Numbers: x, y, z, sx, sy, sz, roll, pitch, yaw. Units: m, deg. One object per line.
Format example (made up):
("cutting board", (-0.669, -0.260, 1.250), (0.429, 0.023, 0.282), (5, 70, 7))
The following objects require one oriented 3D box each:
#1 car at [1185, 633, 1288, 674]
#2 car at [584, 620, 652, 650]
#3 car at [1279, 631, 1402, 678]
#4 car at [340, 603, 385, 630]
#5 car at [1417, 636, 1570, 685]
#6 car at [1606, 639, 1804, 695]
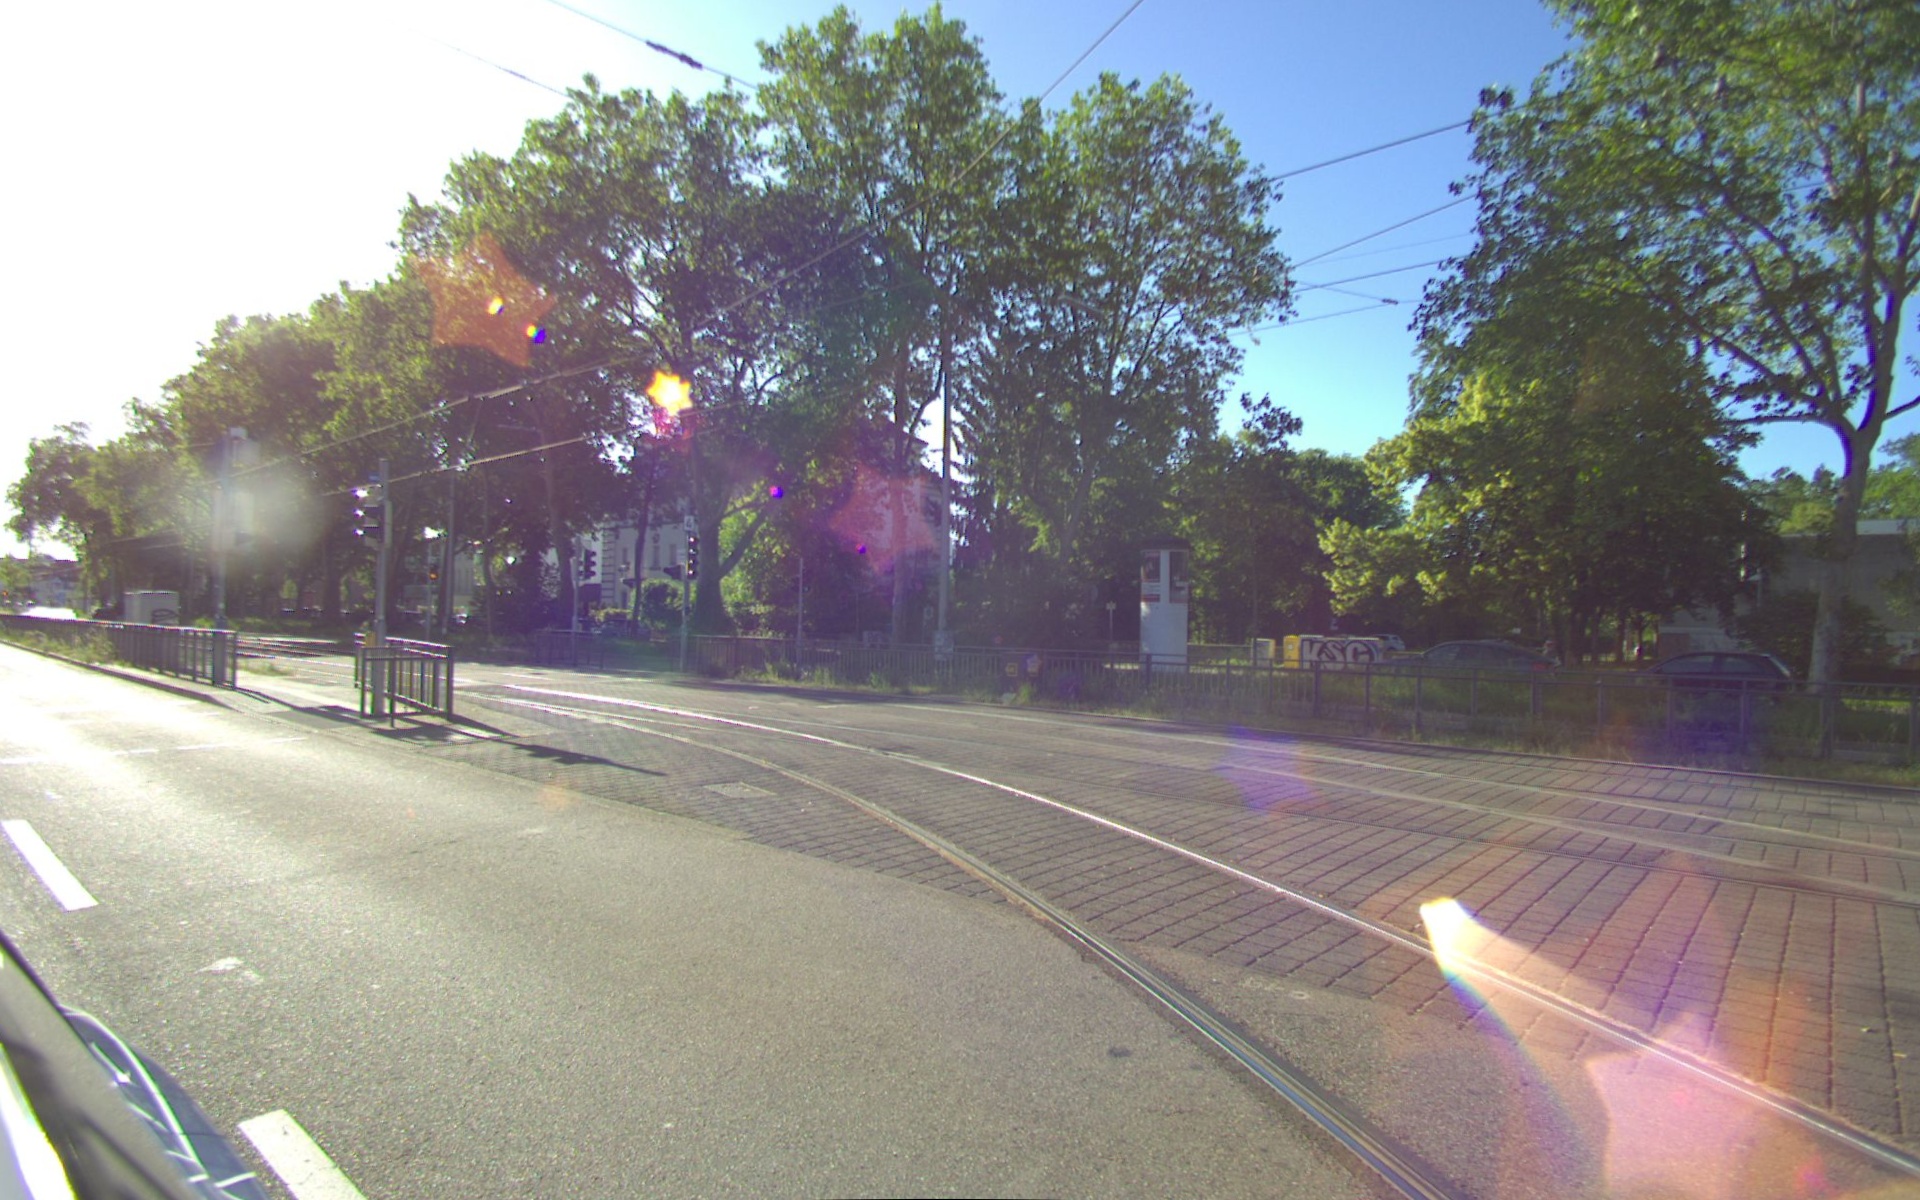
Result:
("car", (10.614, 2.030, 38.955), (3.485, 1.406, 1.611), (-1, 0, 44))
("car", (-18.128, 1.851, 53.582), (3.753, 1.482, 1.700), (-1, 0, 40))
("car", (13.525, 1.888, 36.083), (3.739, 1.482, 1.723), (-1, 0, 42))
("car", (-41.397, 1.163, 70.075), (3.742, 1.806, 1.721), (-2, -3, 45))
("car", (13.388, 1.479, 25.463), (3.127, 1.057, 1.484), (-1, 0, 42))
("car", (16.475, 1.436, 22.462), (3.404, 1.037, 1.464), (-1, 0, 42))
